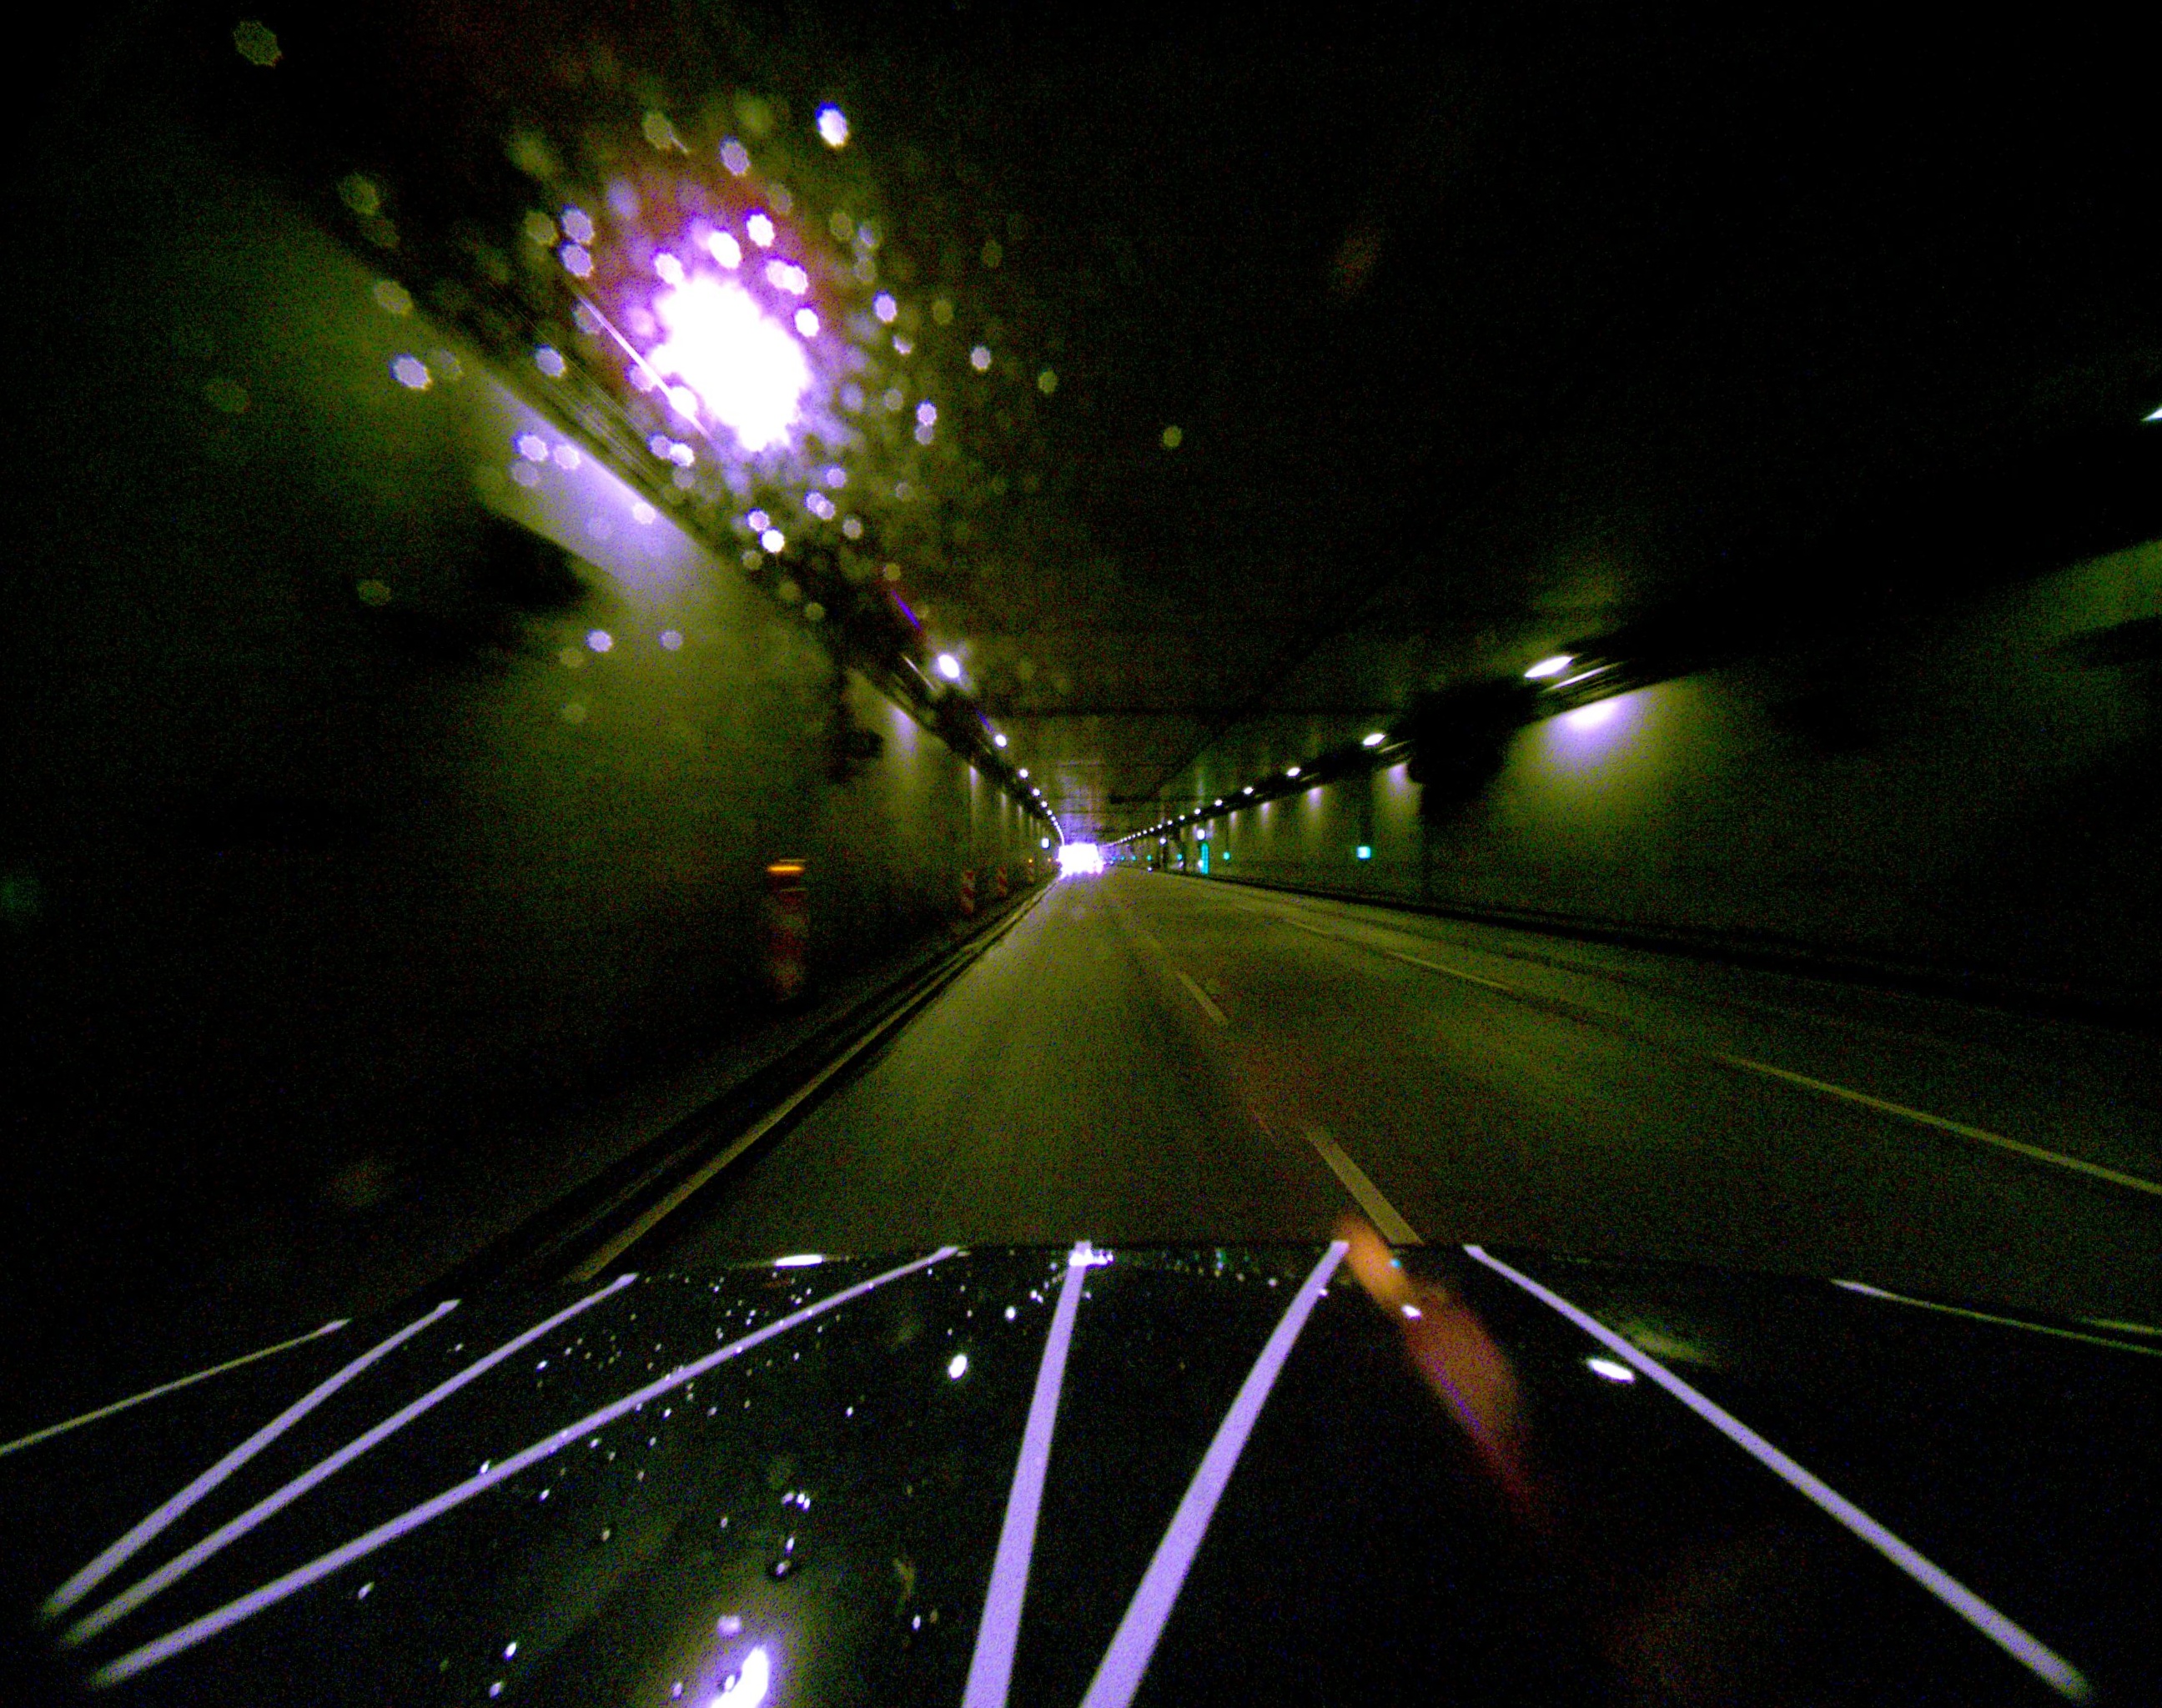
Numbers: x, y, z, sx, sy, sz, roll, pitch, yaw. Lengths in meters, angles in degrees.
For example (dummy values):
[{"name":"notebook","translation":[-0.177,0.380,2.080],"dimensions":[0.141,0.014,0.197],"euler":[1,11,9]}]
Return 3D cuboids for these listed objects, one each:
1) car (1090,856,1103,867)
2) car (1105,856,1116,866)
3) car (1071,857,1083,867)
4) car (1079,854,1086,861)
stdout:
[{"name":"car","translation":[2.549,1.254,127.356],"dimensions":[1.998,1.686,4.001],"euler":[-2,0,3]},{"name":"car","translation":[5.438,1.327,140.301],"dimensions":[1.998,1.685,4.001],"euler":[-1,-1,0]},{"name":"car","translation":[-0.716,1.316,133.159],"dimensions":[1.998,1.685,4.000],"euler":[-1,0,1]},{"name":"car","translation":[0.447,0.975,212.265],"dimensions":[1.998,1.756,4.000],"euler":[-1,0,1]}]
